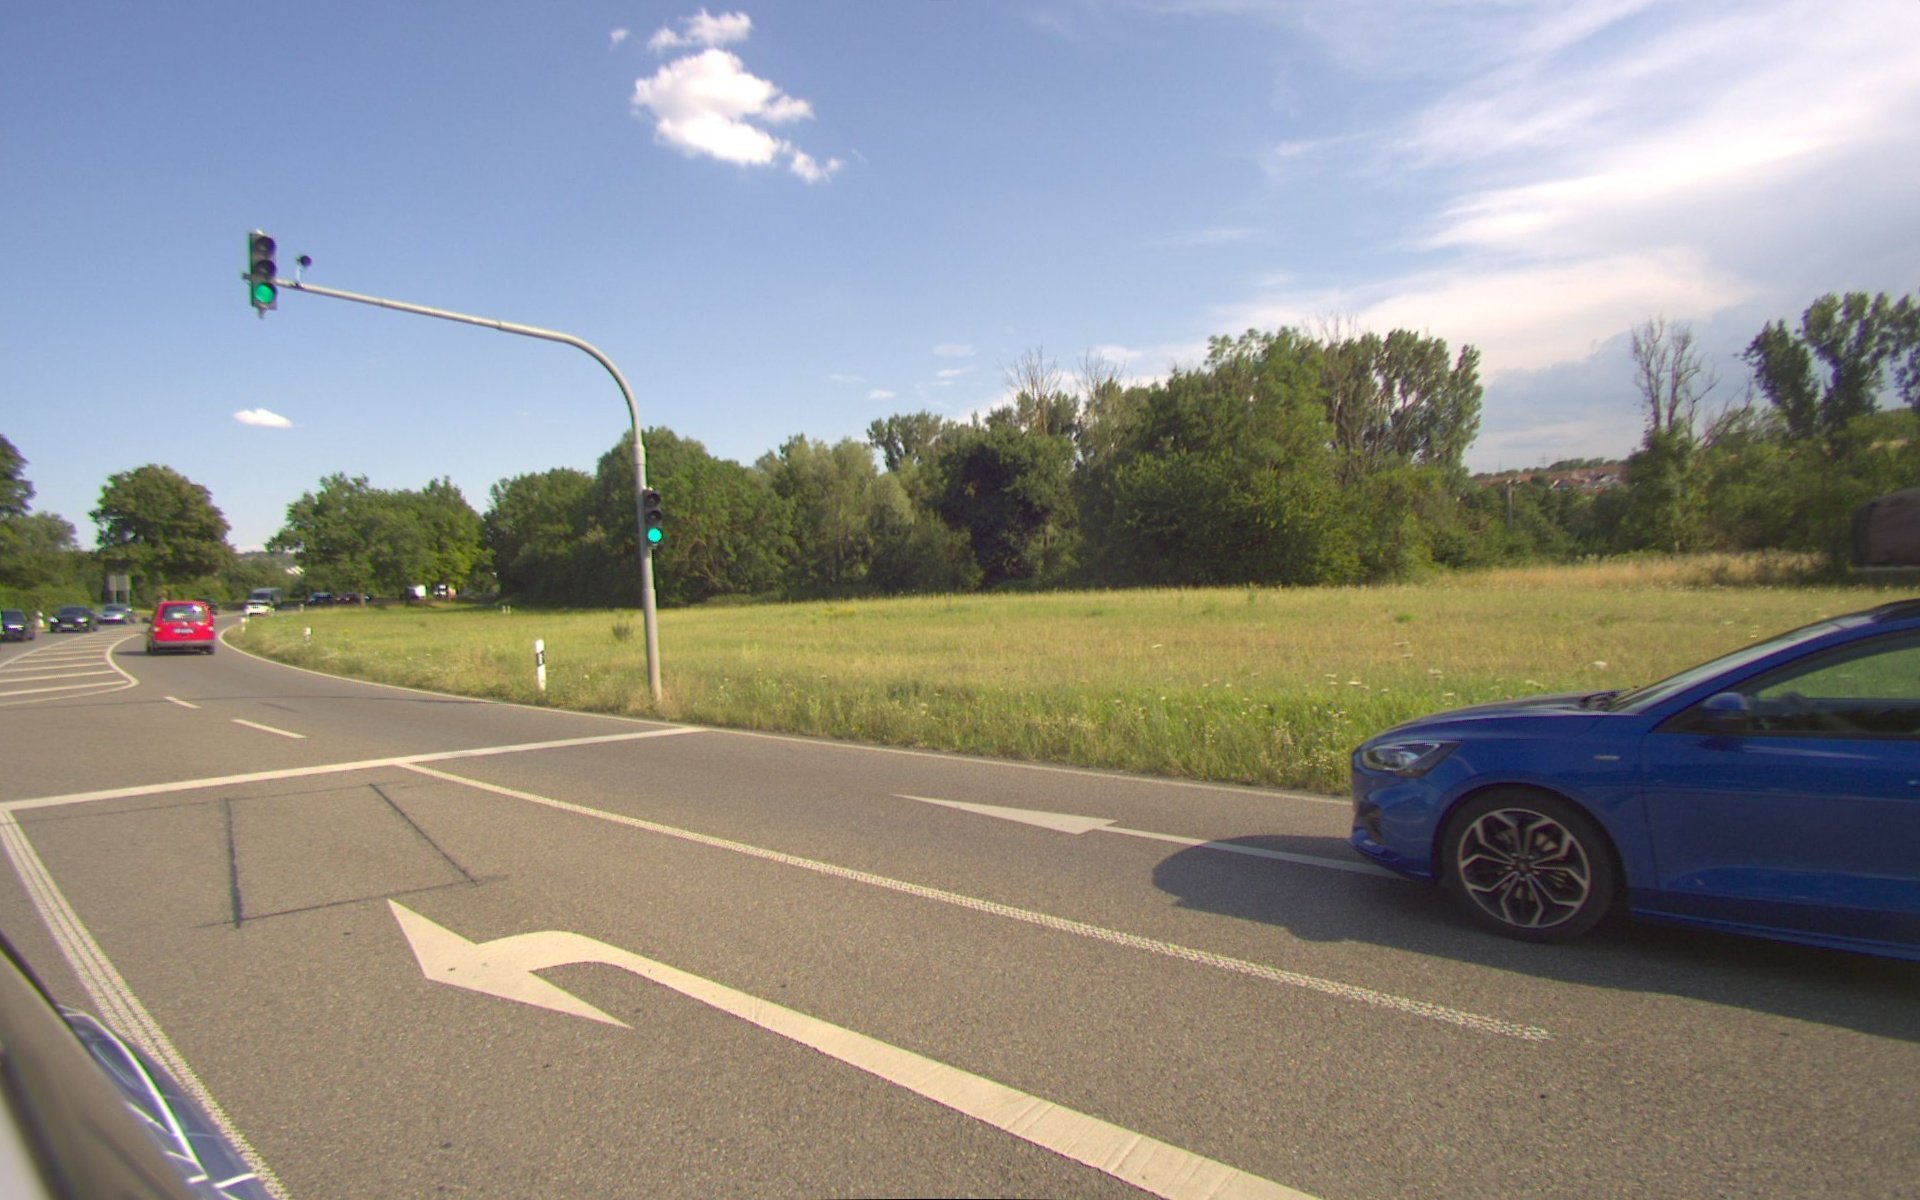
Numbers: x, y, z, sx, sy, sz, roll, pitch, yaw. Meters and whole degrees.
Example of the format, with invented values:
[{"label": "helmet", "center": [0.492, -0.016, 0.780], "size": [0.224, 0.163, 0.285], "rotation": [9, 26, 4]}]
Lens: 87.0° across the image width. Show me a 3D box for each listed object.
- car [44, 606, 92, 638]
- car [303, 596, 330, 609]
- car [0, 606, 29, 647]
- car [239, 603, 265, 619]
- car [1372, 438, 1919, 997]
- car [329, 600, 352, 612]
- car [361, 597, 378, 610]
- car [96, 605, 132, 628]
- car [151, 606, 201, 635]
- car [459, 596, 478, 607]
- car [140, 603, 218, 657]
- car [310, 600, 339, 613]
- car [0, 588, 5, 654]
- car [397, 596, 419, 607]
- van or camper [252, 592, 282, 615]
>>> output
[{"label": "car", "center": [-50.650, 1.227, 57.505], "size": [1.647, 1.741, 3.677], "rotation": [0, 0, -35]}, {"label": "car", "center": [-87.400, 0.346, 137.516], "size": [1.966, 1.563, 4.012], "rotation": [-3, 2, -15]}, {"label": "car", "center": [-42.507, 1.143, 44.734], "size": [1.668, 1.741, 3.675], "rotation": [1, -1, -38]}, {"label": "car", "center": [-67.340, 1.083, 96.303], "size": [1.722, 1.478, 3.490], "rotation": [1, -1, -30]}, {"label": "car", "center": [4.085, 0.397, 3.879], "size": [4.329, 1.897, 1.708], "rotation": [-2, -2, 38]}, {"label": "car", "center": [-91.076, 0.913, 148.764], "size": [1.966, 1.563, 4.013], "rotation": [-3, 2, -18]}, {"label": "car", "center": [-93.678, 0.542, 160.586], "size": [1.385, 2.028, 3.243], "rotation": [-3, 1, -13]}, {"label": "car", "center": [-61.078, 1.164, 73.091], "size": [1.608, 1.570, 3.426], "rotation": [1, 0, -33]}, {"label": "car", "center": [-44.389, 1.175, 57.360], "size": [1.855, 1.598, 4.342], "rotation": [0, -2, -33]}, {"label": "car", "center": [-91.618, 0.238, 188.678], "size": [1.969, 1.871, 4.006], "rotation": [-3, 2, -6]}, {"label": "car", "center": [-27.356, 1.049, 35.396], "size": [1.857, 1.789, 4.327], "rotation": [1, -2, -42]}, {"label": "car", "center": [-79.888, 0.784, 127.311], "size": [1.901, 1.598, 4.085], "rotation": [0, -1, -15]}, {"label": "car", "center": [-34.872, 0.751, 35.229], "size": [1.815, 2.369, 4.800], "rotation": [1, -1, -37]}, {"label": "car", "center": [-88.200, 0.164, 161.771], "size": [1.967, 1.563, 4.010], "rotation": [-3, 2, -11]}, {"label": "van or camper", "center": [-81.960, 0.392, 119.745], "size": [2.000, 2.494, 5.094], "rotation": [-3, 1, -25]}]
